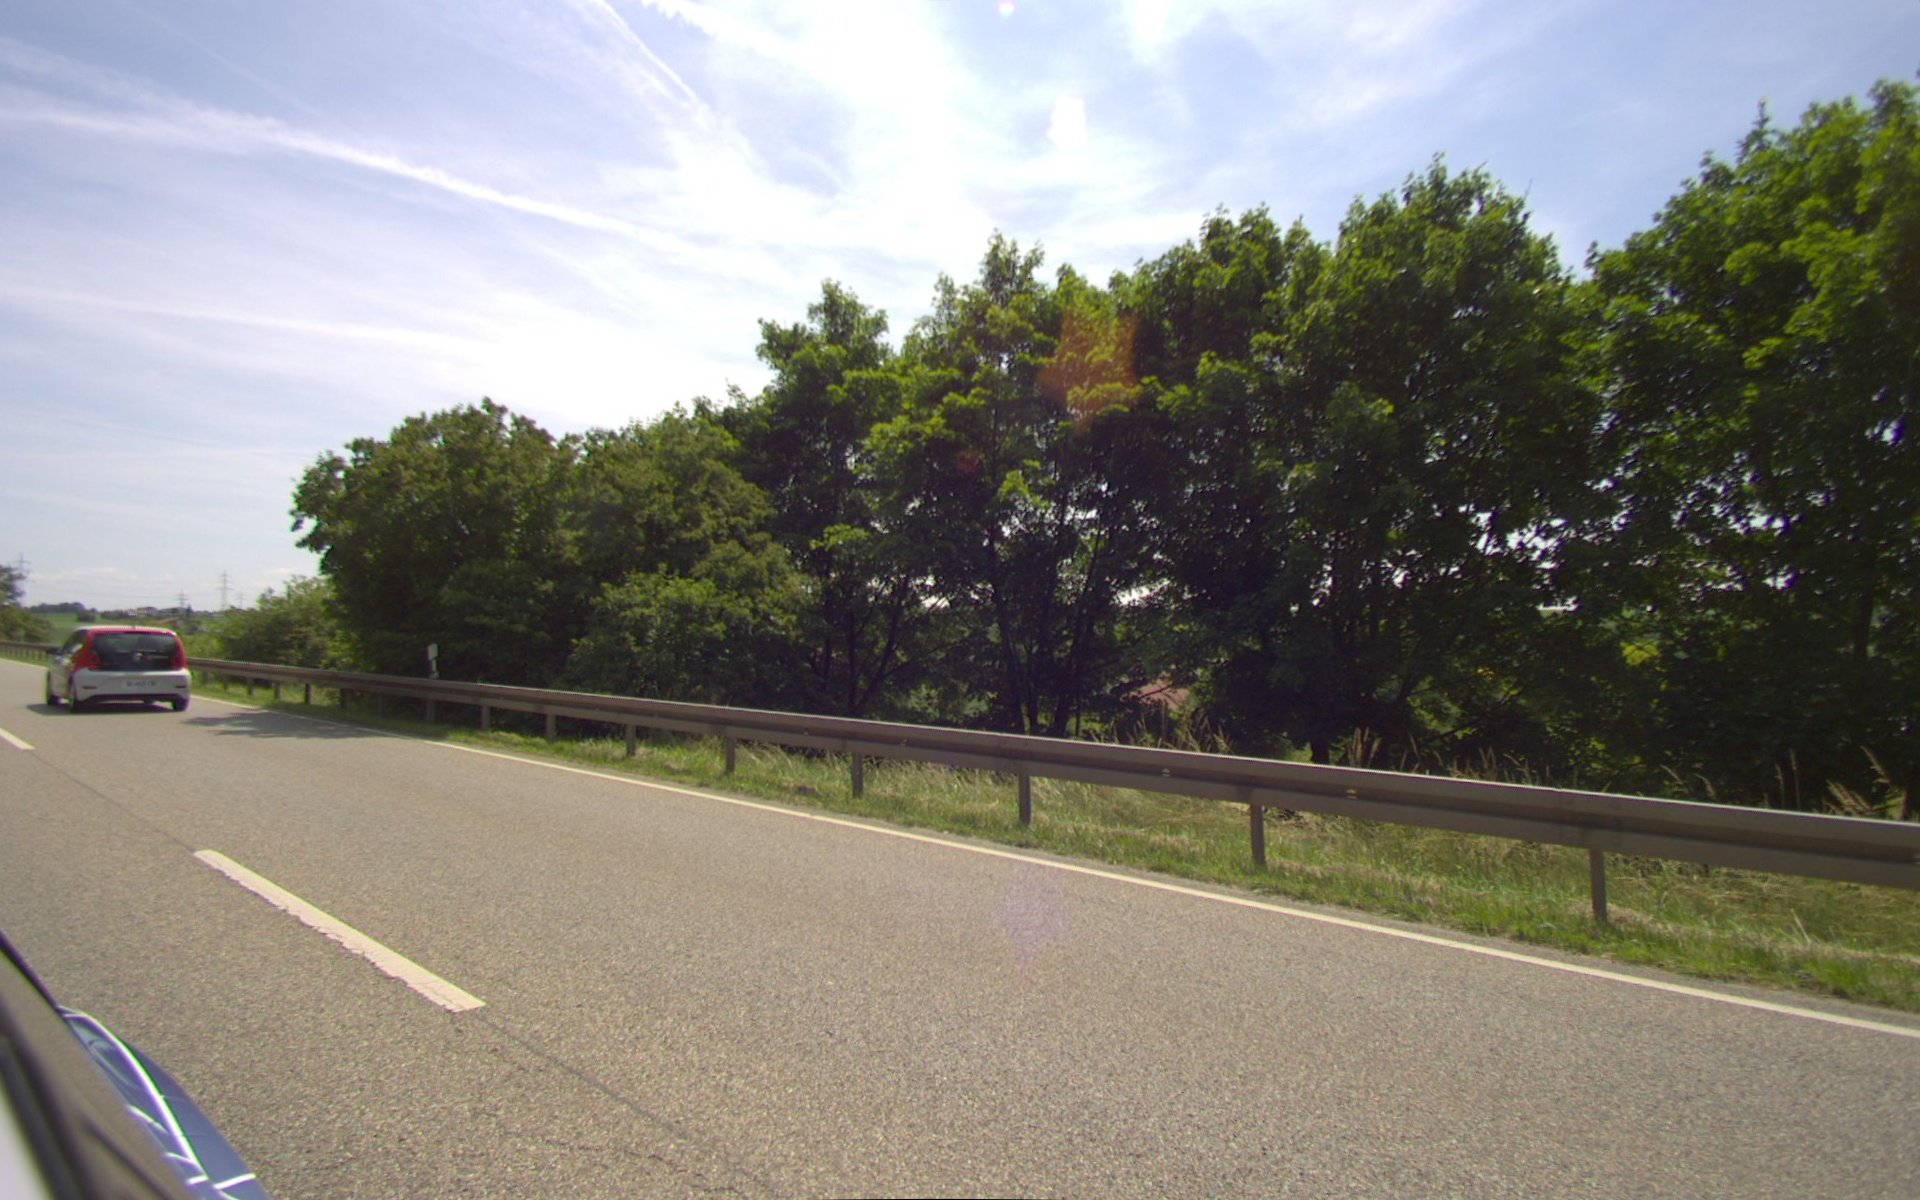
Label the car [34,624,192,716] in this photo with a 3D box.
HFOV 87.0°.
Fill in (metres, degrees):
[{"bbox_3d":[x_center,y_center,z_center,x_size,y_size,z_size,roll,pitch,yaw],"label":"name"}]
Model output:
[{"bbox_3d":[-15.181,1.209,18.094,3.547,1.474,1.541,-1,-5,41],"label":"car"}]
